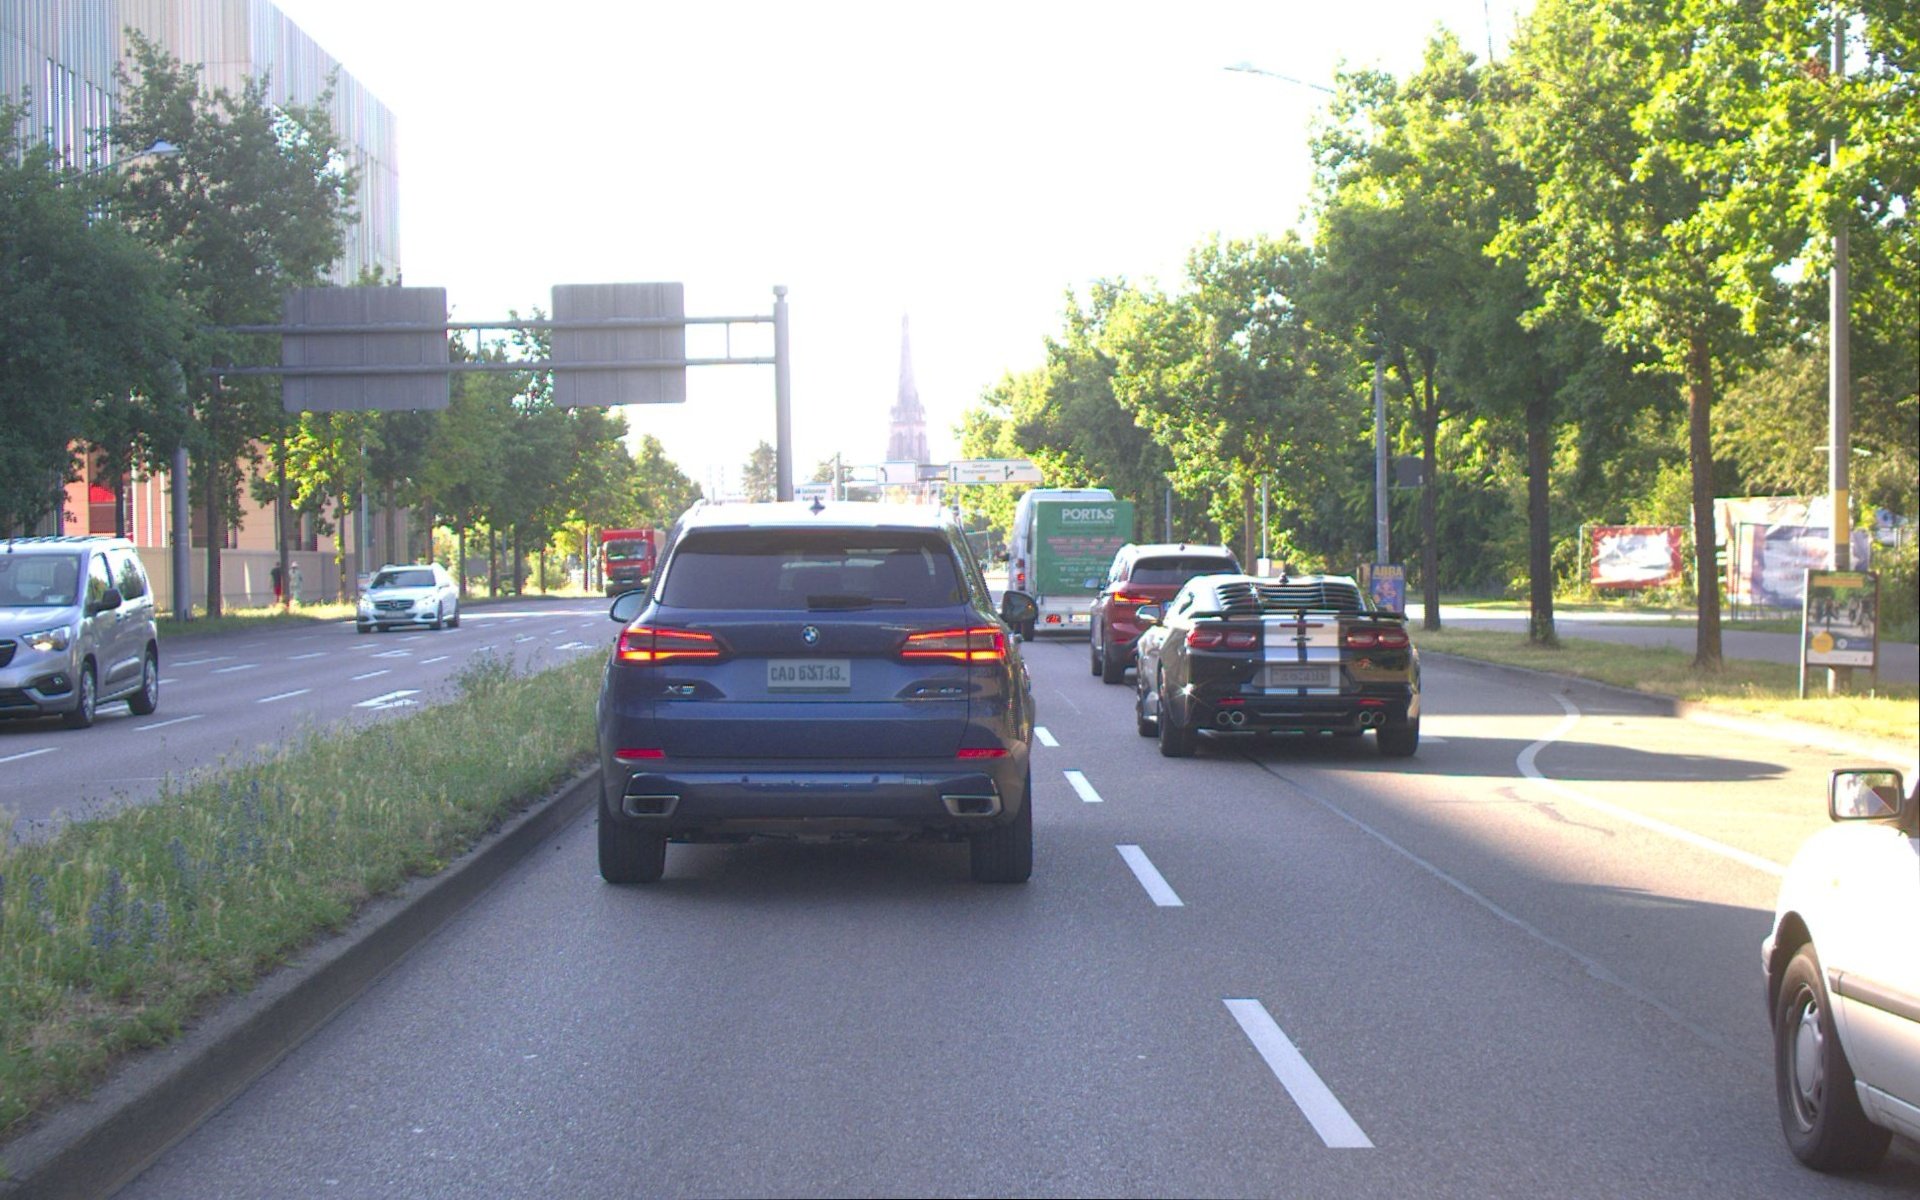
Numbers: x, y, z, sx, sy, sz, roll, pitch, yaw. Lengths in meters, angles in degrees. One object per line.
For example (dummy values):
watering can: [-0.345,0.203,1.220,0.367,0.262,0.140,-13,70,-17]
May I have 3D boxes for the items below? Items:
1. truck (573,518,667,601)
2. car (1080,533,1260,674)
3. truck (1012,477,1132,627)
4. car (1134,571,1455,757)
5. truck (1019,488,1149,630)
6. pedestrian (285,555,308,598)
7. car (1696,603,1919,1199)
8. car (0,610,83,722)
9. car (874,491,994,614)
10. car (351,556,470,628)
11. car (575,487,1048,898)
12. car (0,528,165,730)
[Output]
truck: [-17.484,-2.015,177.456,3.988,4.074,11.449,1,0,-2]
car: [2.409,0.046,40.206,1.796,1.553,4.000,1,0,-1]
truck: [2.026,-0.849,63.138,1.996,2.659,4.000,1,0,-1]
car: [2.457,0.458,26.182,1.993,1.290,4.000,1,0,-1]
truck: [2.073,-0.669,58.386,1.996,2.307,4.000,1,0,-1]
pedestrian: [-23.794,-0.846,123.310,0.627,1.516,0.718,0,0,2]
car: [2.833,0.717,7.240,1.578,1.408,4.062,1,0,-2]
car: [-15.475,1.081,54.961,1.756,1.699,4.494,-5,0,-2]
car: [-0.611,-0.988,74.975,2.136,2.567,5.088,1,0,-6]
car: [-12.465,-0.172,78.239,1.993,1.447,4.715,-5,0,-2]
car: [-0.660,0.403,16.890,1.993,1.728,4.533,1,0,-1]
car: [-9.035,0.314,33.043,1.756,1.771,4.494,-5,0,-2]
